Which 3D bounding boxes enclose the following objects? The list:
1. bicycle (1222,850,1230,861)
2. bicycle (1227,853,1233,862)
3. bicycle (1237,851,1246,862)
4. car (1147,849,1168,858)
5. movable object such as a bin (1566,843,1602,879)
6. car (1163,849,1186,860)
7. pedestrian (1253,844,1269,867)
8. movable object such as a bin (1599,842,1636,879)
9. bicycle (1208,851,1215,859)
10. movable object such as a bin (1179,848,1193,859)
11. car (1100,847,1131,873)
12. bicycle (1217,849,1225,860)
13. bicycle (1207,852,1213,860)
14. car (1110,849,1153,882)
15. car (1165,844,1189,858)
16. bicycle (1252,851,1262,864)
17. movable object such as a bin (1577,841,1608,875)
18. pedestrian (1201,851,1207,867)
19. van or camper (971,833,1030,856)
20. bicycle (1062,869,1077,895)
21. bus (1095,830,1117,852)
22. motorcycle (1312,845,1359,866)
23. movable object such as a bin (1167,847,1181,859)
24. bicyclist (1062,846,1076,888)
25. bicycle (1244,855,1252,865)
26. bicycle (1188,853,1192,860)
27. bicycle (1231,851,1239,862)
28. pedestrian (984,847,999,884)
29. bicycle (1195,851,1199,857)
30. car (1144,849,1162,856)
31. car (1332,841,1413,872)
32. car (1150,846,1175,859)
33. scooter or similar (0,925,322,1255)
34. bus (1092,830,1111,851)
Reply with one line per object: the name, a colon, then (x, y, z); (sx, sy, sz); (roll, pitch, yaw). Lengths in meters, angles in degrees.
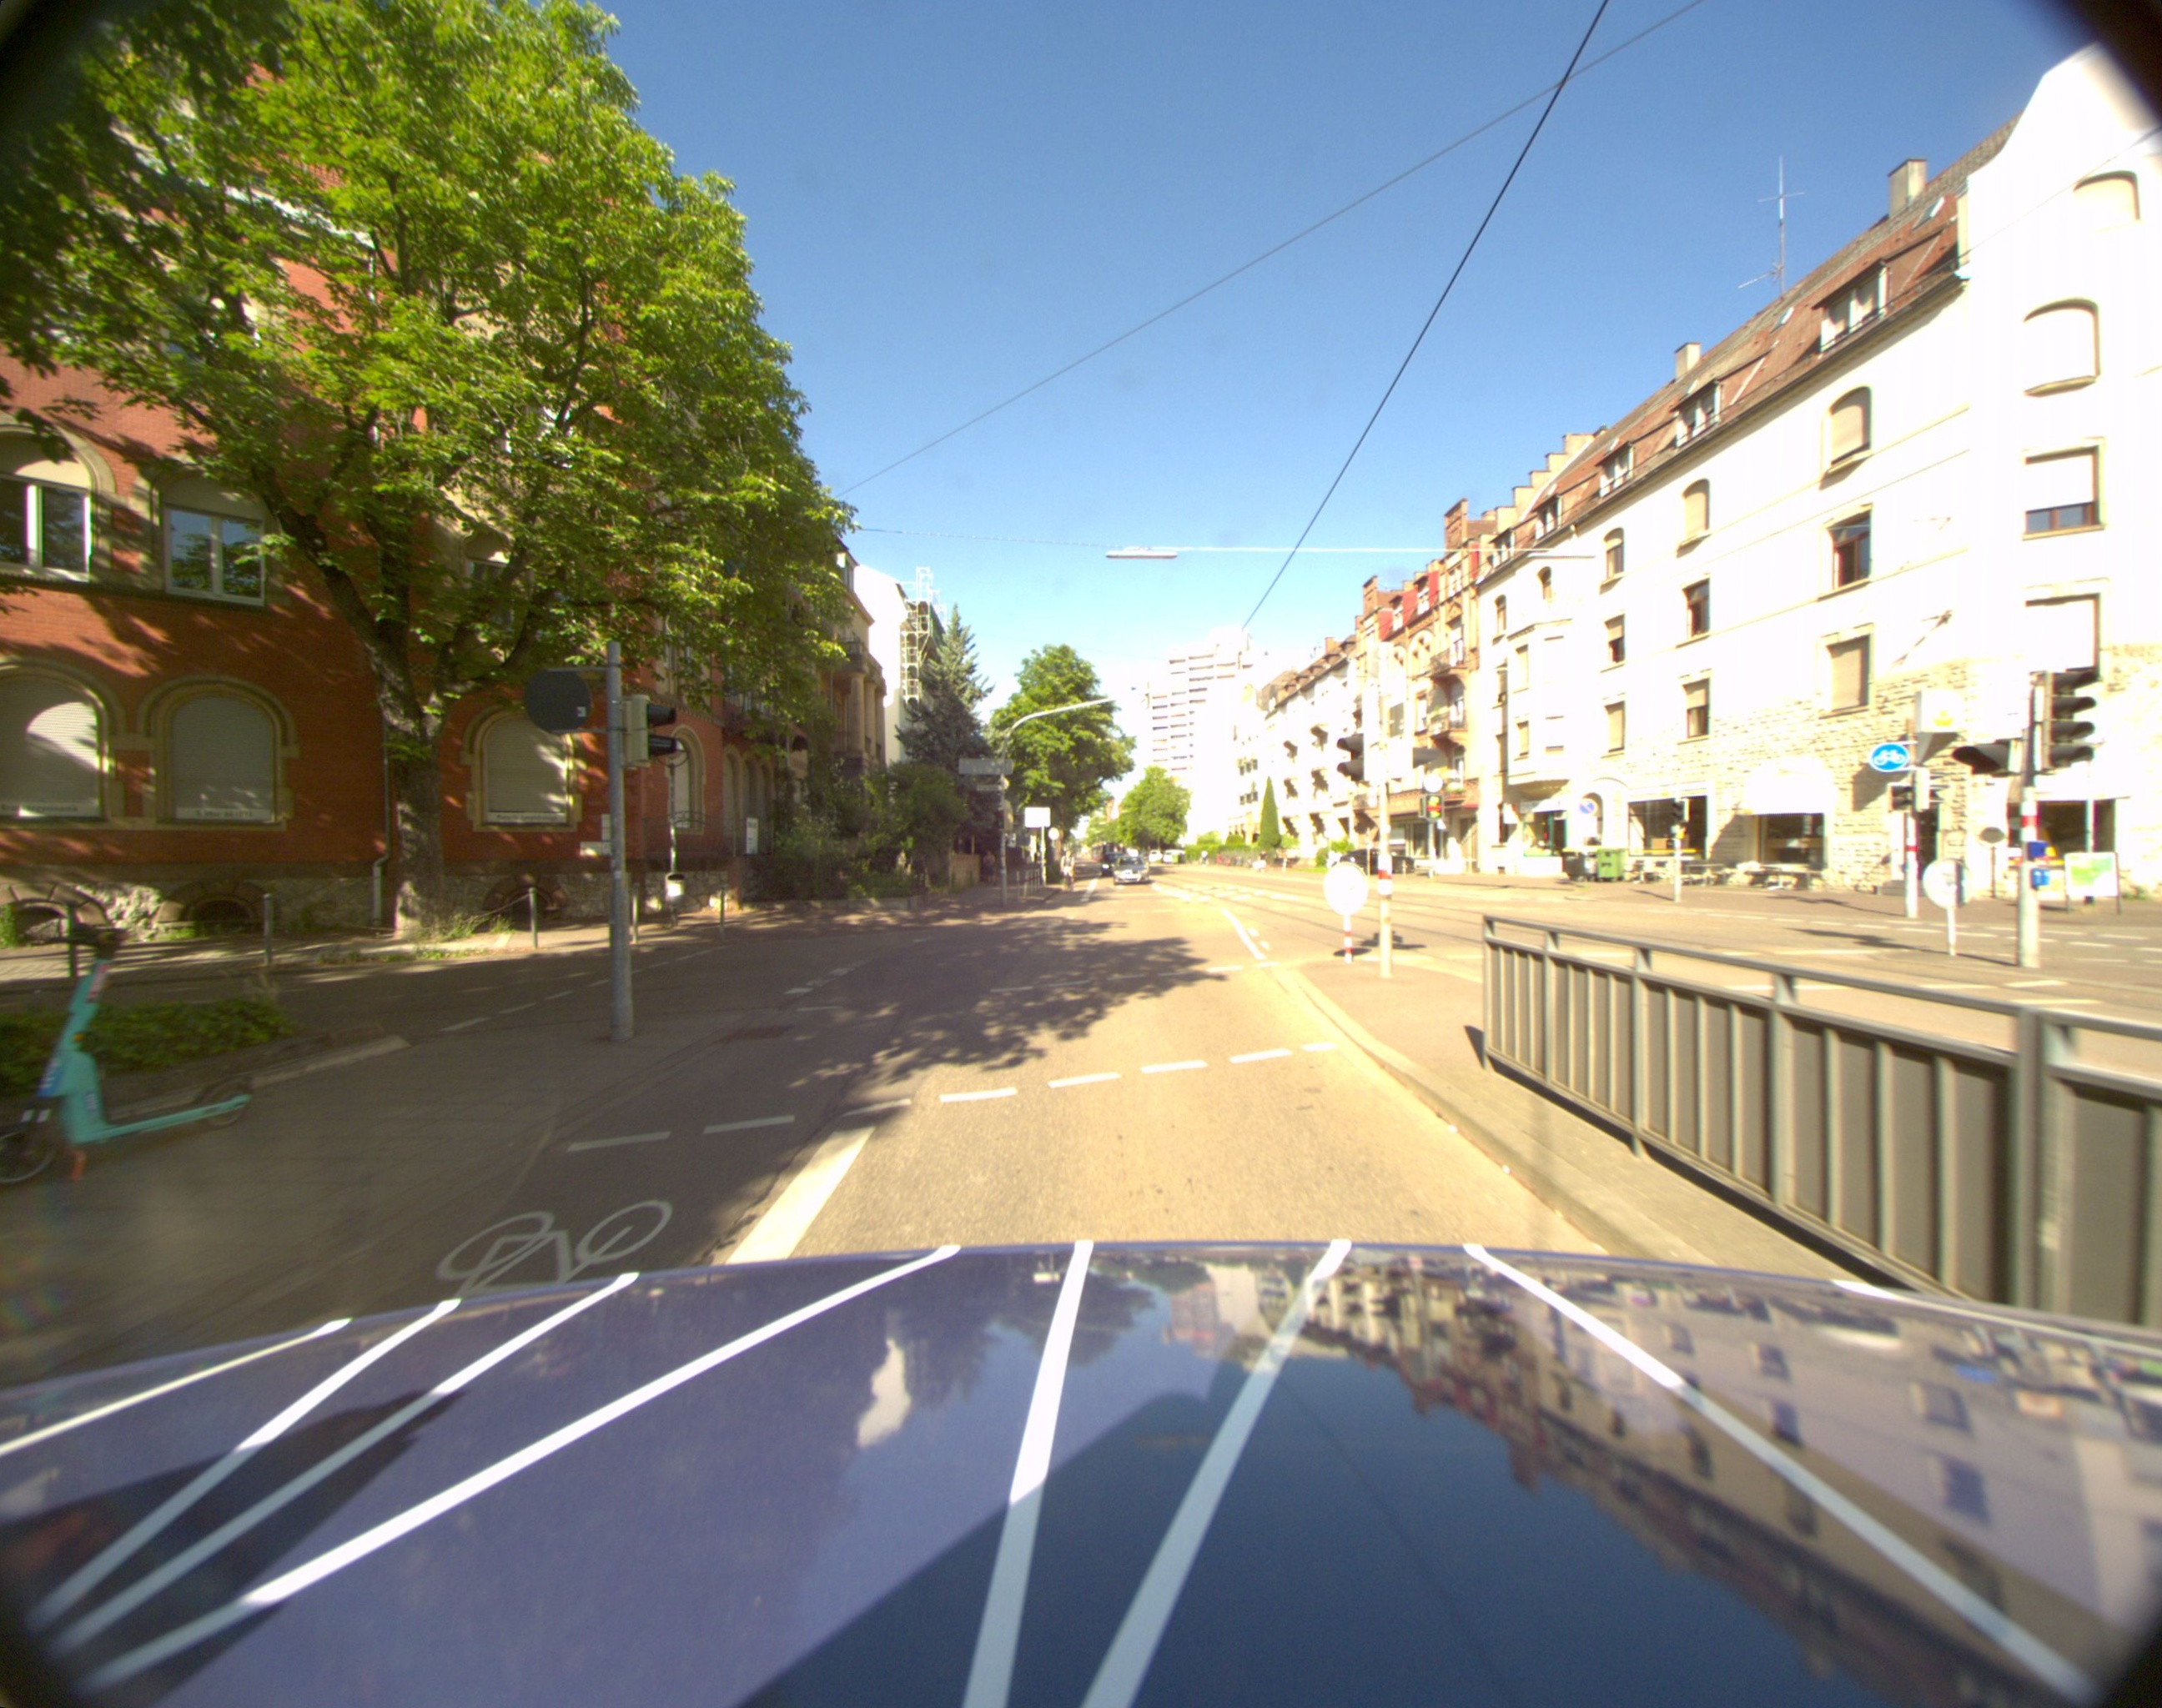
bicycle: (13.817, 0.101, 72.414); (0.405, 1.018, 1.815); (-2, 1, 0)
bicycle: (13.853, 0.313, 70.675); (0.318, 0.757, 1.542); (-2, 1, 0)
bicycle: (14.135, 0.183, 66.949); (0.405, 0.937, 1.748); (-2, 1, 0)
car: (11.888, -0.091, 118.259); (2.757, 1.427, 1.458); (-2, 1, -17)
movable object such as a bin: (19.816, 0.254, 29.961); (0.856, 1.373, 1.028); (-1, 2, 12)
car: (12.784, 0.013, 104.382); (2.757, 1.427, 1.458); (-2, 1, -17)
pedestrian: (13.360, 0.090, 56.402); (0.869, 1.619, 0.870); (-6, 2, 0)
movable object such as a bin: (20.367, 0.233, 28.841); (1.024, 1.373, 0.859); (0, 2, 45)
bicycle: (13.609, 0.114, 79.154); (0.405, 0.757, 1.581); (-2, 1, 0)
movable object such as a bin: (13.669, -0.036, 98.938); (1.501, 1.309, 2.095); (-2, 1, 0)
car: (2.258, 0.337, 50.113); (1.828, 1.559, 3.999); (-2, 1, 0)
bicycle: (13.739, 0.015, 74.727); (0.405, 1.018, 1.815); (-2, 1, 0)
bicycle: (13.683, 0.202, 80.651); (0.339, 0.757, 1.263); (-2, 1, 0)
car: (2.445, 0.524, 37.583); (1.870, 1.426, 3.999); (-2, 1, 0)
car: (12.839, -0.360, 101.373); (1.456, 1.763, 3.194); (0, -1, 45)
bicycle: (14.171, 0.280, 61.338); (0.405, 1.033, 1.748); (-2, 1, 0)
movable object such as a bin: (20.441, 0.150, 30.381); (0.856, 1.318, 0.657); (-1, 2, 11)
pedestrian: (12.404, 0.517, 76.489); (0.475, 1.619, 0.659); (-2, 2, 0)
van or camper: (-9.532, -1.111, 89.738); (6.721, 2.612, 2.126); (-1, 2, 24)
bicycle: (-0.476, 1.142, 31.460); (0.535, 0.917, 2.056); (-2, 1, 1)
bus: (4.353, -2.325, 134.561); (2.857, 3.756, 12.192); (-2, 1, -2)
motorcycle: (18.438, 0.098, 55.074); (3.093, 1.448, 0.823); (-2, 2, -2)
movable object such as a bin: (11.962, -0.122, 97.956); (1.512, 1.424, 2.095); (-2, 1, 0)
bicyclist: (-0.490, 0.528, 31.440); (0.532, 1.660, 0.878); (-2, 2, 1)
bicycle: (13.996, 0.497, 63.580); (0.318, 0.757, 1.651); (-2, 1, 0)
bicycle: (13.246, 0.322, 92.196); (0.297, 0.757, 1.263); (-2, 1, 0)
bicycle: (13.979, 0.207, 68.884); (0.405, 0.937, 1.648); (-2, 1, 0)
pedestrian: (-4.117, 0.538, 35.154); (0.593, 1.662, 0.646); (1, 2, 0)
bicycle: (13.376, -0.009, 87.438); (0.297, 0.757, 1.263); (-2, 1, 0)
car: (12.115, -0.269, 127.412); (2.757, 1.083, 1.226); (-2, 1, -17)
car: (16.979, 0.136, 44.288); (3.999, 1.494, 1.770); (-4, 2, -6)
car: (12.342, -0.286, 114.833); (3.450, 1.860, 1.917); (-3, 2, -45)
scooter or similar: (-5.020, 1.109, 3.985); (0.678, 1.303, 1.328); (-2, 1, 0)
bus: (3.919, -2.541, 146.263); (2.867, 3.756, 11.178); (-2, 1, -2)
